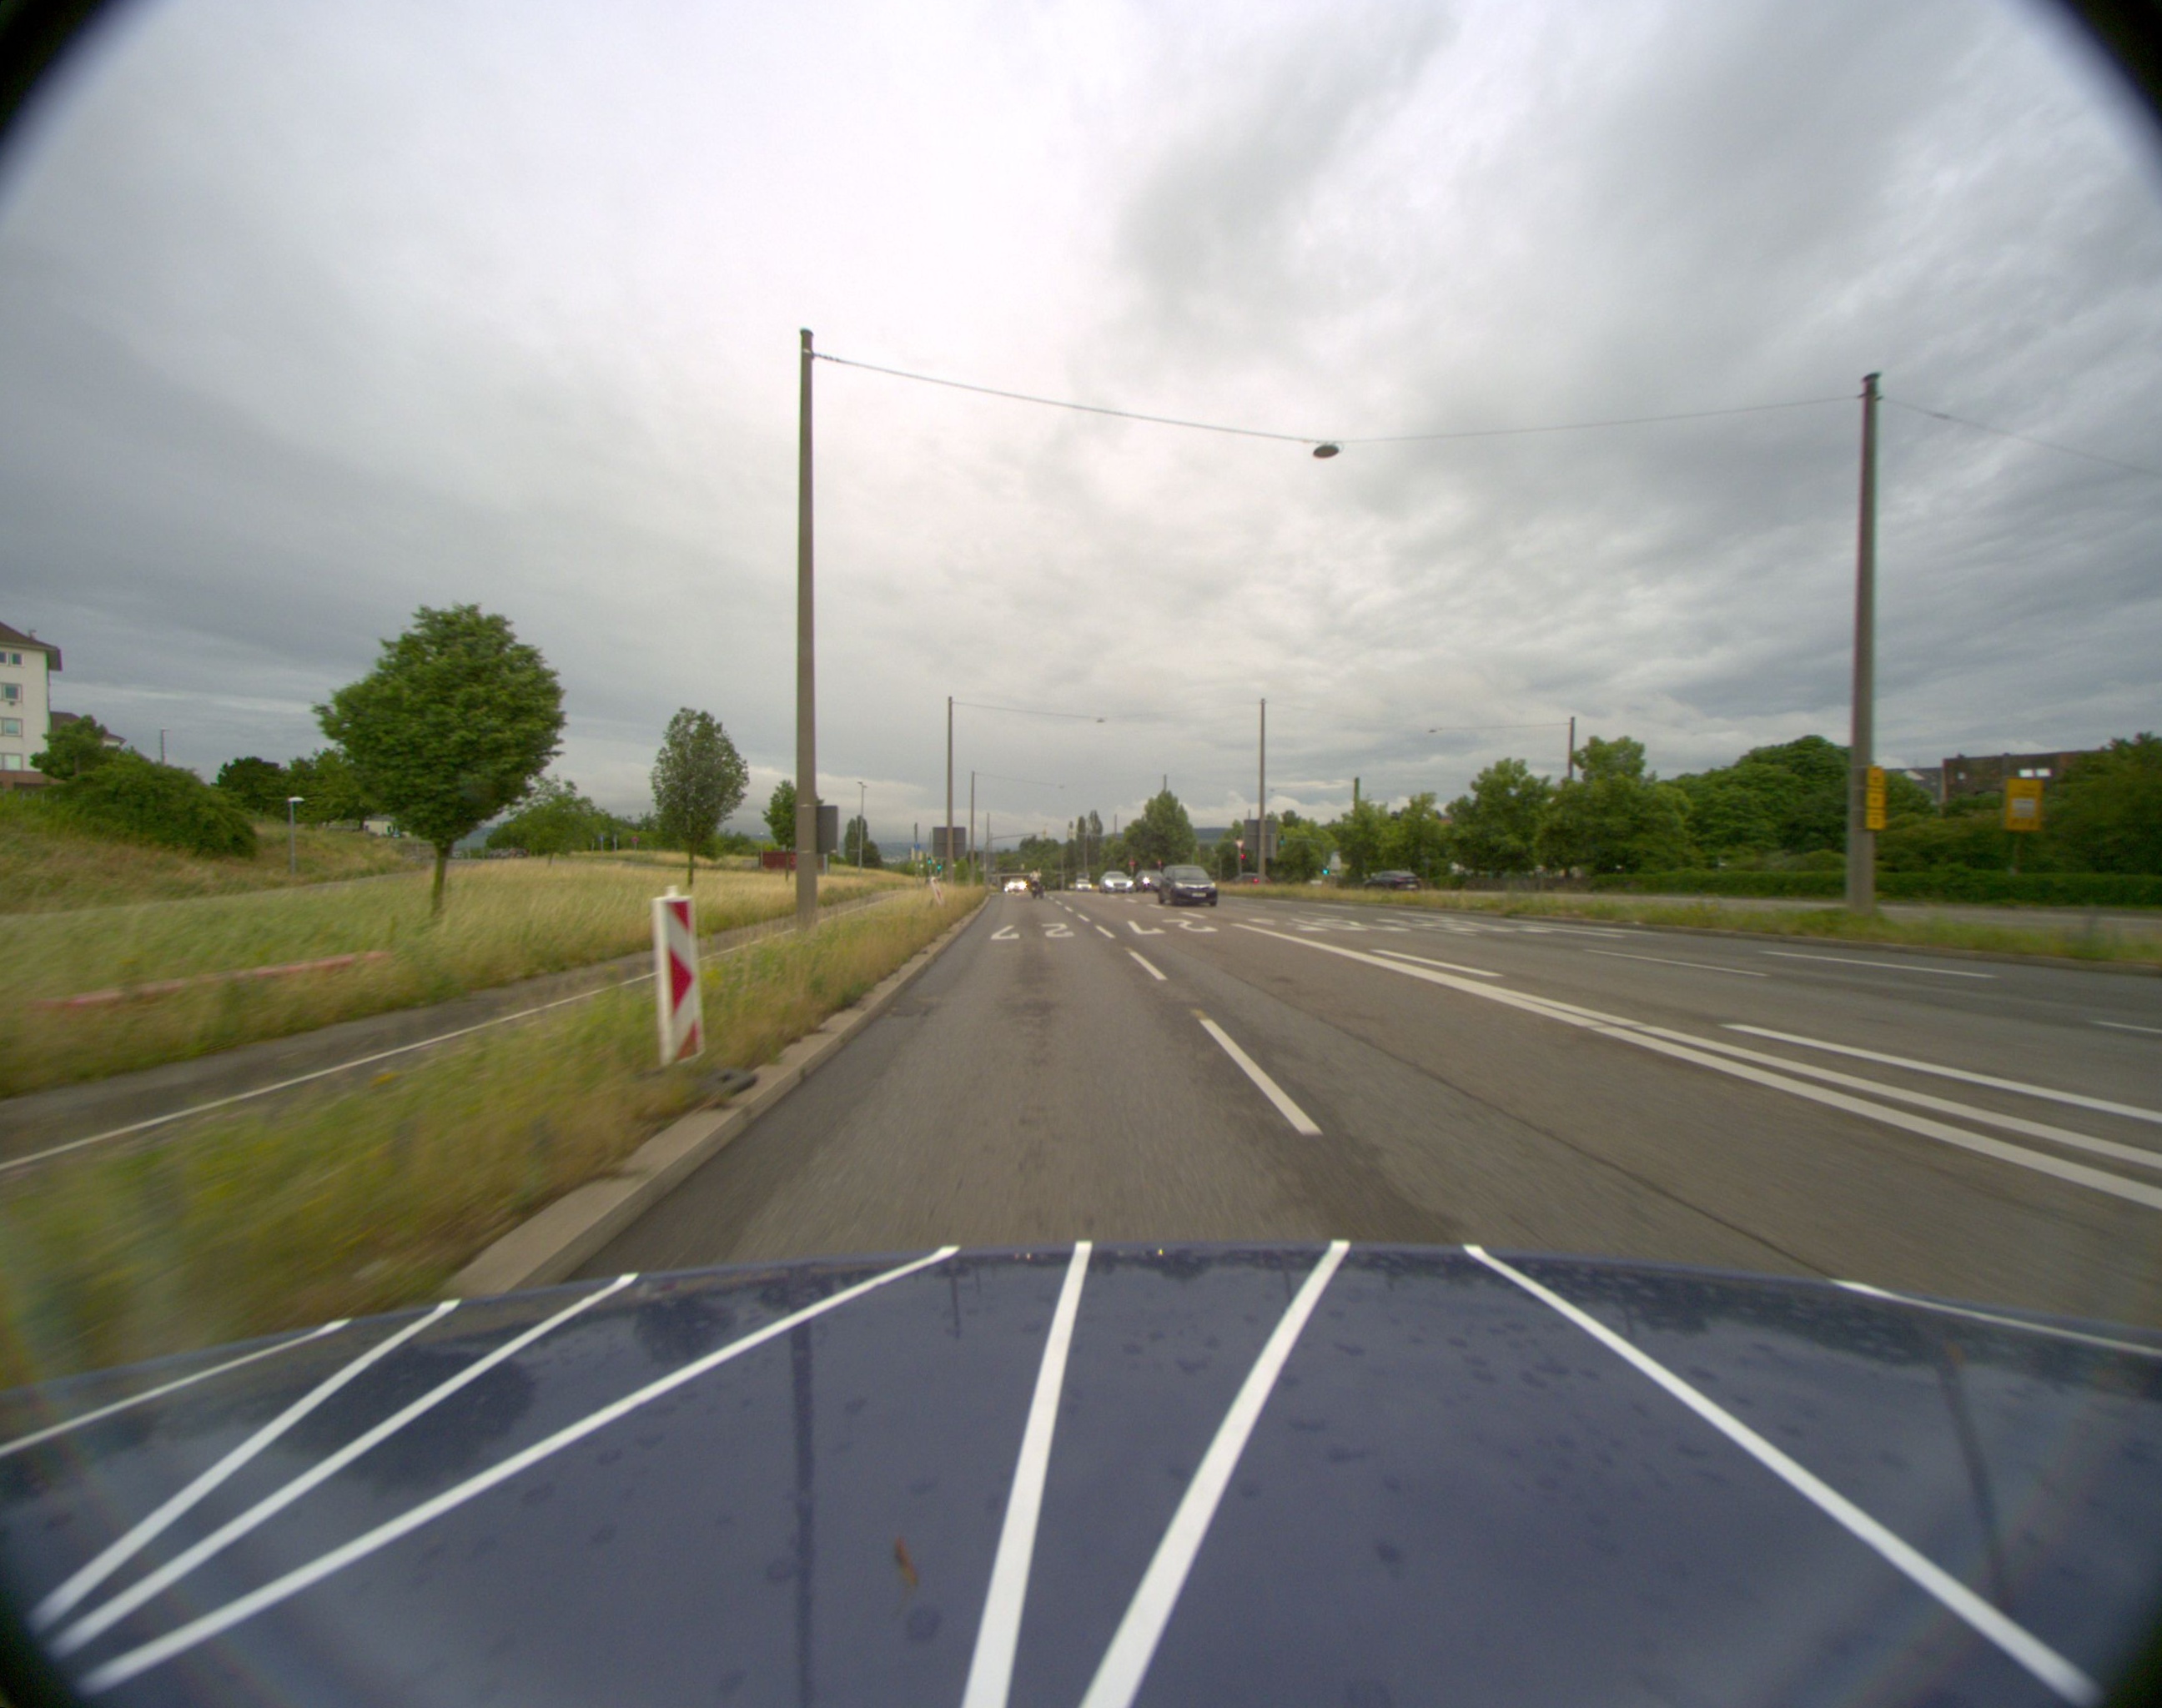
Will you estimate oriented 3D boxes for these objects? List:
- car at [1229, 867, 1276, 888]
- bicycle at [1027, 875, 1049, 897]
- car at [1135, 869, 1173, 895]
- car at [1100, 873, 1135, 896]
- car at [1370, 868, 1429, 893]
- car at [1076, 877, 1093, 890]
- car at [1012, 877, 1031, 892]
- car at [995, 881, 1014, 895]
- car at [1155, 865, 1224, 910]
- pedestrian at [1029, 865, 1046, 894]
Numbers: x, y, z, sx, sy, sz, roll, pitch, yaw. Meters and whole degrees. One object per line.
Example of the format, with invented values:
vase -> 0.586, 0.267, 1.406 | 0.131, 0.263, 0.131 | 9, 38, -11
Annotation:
car -> 12.782, 1.804, 56.854 | 1.896, 1.498, 3.997 | 1, -2, -13
bicycle -> -2.289, 1.698, 40.403 | 0.635, 1.098, 1.750 | 0, -1, -23
car -> 5.407, 2.115, 56.464 | 2.000, 1.849, 3.999 | -1, -2, -6
car -> 2.395, 2.055, 50.603 | 1.999, 1.399, 4.526 | -2, -3, -1
car -> 18.913, 1.588, 45.305 | 1.599, 1.352, 3.676 | -2, -2, -7
car -> 0.433, 3.976, 102.236 | 1.999, 1.632, 4.629 | -2, -2, -1
car -> -6.374, 3.279, 81.906 | 1.726, 1.512, 4.229 | -1, -3, 0
car -> -9.625, 4.291, 96.364 | 1.999, 1.632, 4.629 | -2, -2, -1
car -> 4.207, 1.359, 29.978 | 1.801, 1.555, 4.044 | -2, -3, -4
pedestrian -> -2.335, 1.357, 40.519 | 0.635, 1.561, 0.894 | 0, -1, -23
